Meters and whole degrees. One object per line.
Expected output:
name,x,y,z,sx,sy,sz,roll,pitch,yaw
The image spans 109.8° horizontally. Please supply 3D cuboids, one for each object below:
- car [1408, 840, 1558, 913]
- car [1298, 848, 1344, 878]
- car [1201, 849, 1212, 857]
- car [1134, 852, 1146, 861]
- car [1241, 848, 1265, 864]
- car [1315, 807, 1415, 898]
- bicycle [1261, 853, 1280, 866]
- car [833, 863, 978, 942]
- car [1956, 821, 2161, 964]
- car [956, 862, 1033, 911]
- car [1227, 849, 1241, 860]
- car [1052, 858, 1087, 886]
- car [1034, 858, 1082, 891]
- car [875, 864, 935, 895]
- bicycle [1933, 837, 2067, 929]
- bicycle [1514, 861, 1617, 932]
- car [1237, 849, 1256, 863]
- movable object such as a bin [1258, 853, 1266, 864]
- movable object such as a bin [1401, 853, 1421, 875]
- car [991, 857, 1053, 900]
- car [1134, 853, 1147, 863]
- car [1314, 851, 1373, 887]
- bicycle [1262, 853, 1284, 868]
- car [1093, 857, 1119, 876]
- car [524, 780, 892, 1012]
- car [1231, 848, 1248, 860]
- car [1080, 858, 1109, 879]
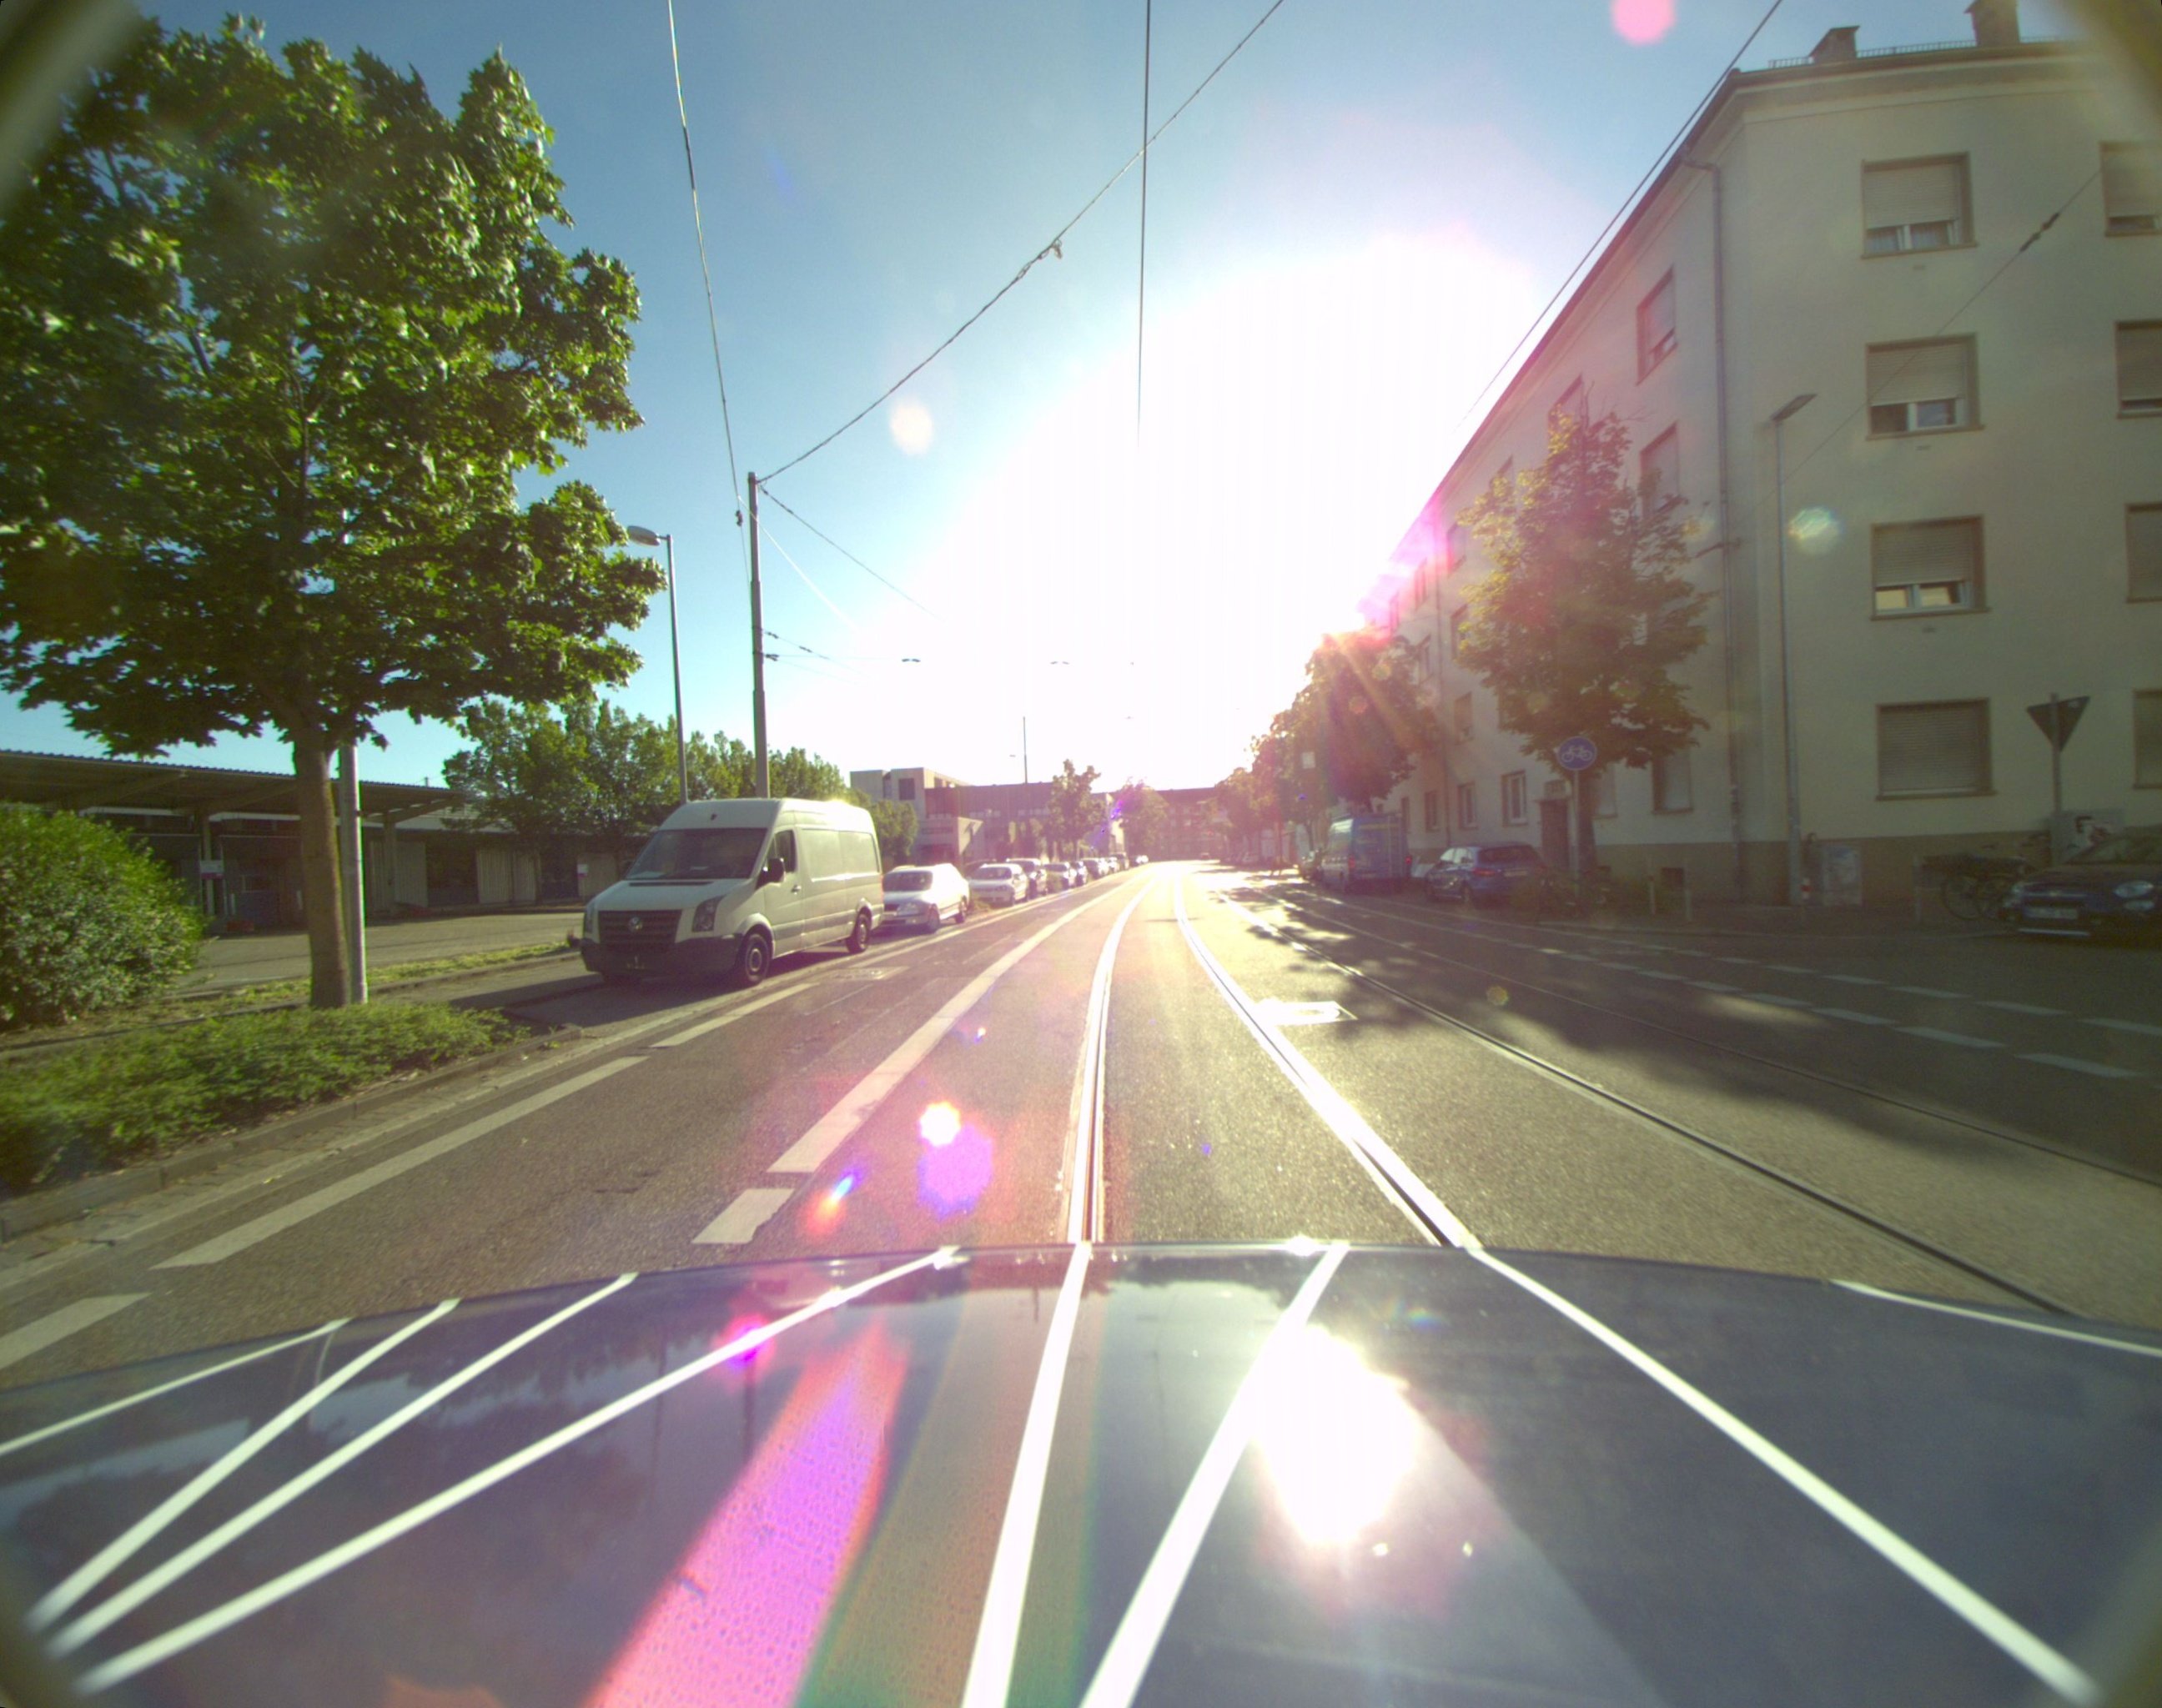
car,10.082,0.489,19.517,1.794,1.551,4.644,-3,0,7
car,13.053,0.450,41.540,1.654,1.482,4.002,-4,0,8
car,25.116,-0.245,151.910,1.769,1.455,4.749,-2,1,6
car,9.951,0.409,127.080,1.716,1.481,4.626,-2,0,7
car,18.097,0.208,80.015,1.868,1.482,4.663,-4,0,7
car,10.024,-0.086,27.390,2.021,2.809,6.035,-4,0,8
bicycle,16.195,0.445,64.865,1.790,1.034,0.667,-4,1,-45
car,-4.011,1.053,18.294,1.914,1.521,4.602,-2,0,6
car,13.439,0.334,9.000,3.895,1.449,1.769,-4,0,4
car,-2.963,1.089,26.930,1.731,1.503,4.254,-1,1,7
car,21.881,0.062,108.640,1.575,1.496,4.002,-4,0,8
car,-0.644,1.040,46.298,1.732,1.455,4.342,-4,0,3
car,-1.137,1.052,40.478,1.731,1.455,4.500,-4,0,8
car,-6.958,0.980,30.233,1.312,1.027,3.058,-4,0,6
bicycle,13.464,0.409,11.148,1.505,1.222,0.397,-4,4,-1
bicycle,8.638,0.720,13.649,0.513,1.127,2.031,-4,0,0
car,19.075,0.210,87.649,1.776,1.477,4.307,-4,0,7
movable object such as a bin,17.375,0.441,73.003,0.583,0.954,0.702,-8,0,8
movable object such as a bin,14.616,0.430,33.656,0.597,0.929,0.569,-2,0,5
car,-2.367,0.972,31.724,1.731,1.595,4.344,-1,1,7
car,8.945,0.538,113.572,1.705,1.473,4.660,0,1,7
car,11.812,0.635,34.382,1.654,1.416,4.191,-4,0,8
bicycle,15.443,0.528,61.114,1.990,1.034,0.531,-4,1,-38
car,2.340,1.129,69.609,1.828,1.476,4.604,-4,0,8
car,-5.081,0.458,11.807,2.184,2.650,6.093,0,1,6
car,21.458,0.018,102.798,1.877,1.420,4.295,-4,0,8
car,1.048,1.044,55.983,1.828,1.484,3.816,-1,1,6
